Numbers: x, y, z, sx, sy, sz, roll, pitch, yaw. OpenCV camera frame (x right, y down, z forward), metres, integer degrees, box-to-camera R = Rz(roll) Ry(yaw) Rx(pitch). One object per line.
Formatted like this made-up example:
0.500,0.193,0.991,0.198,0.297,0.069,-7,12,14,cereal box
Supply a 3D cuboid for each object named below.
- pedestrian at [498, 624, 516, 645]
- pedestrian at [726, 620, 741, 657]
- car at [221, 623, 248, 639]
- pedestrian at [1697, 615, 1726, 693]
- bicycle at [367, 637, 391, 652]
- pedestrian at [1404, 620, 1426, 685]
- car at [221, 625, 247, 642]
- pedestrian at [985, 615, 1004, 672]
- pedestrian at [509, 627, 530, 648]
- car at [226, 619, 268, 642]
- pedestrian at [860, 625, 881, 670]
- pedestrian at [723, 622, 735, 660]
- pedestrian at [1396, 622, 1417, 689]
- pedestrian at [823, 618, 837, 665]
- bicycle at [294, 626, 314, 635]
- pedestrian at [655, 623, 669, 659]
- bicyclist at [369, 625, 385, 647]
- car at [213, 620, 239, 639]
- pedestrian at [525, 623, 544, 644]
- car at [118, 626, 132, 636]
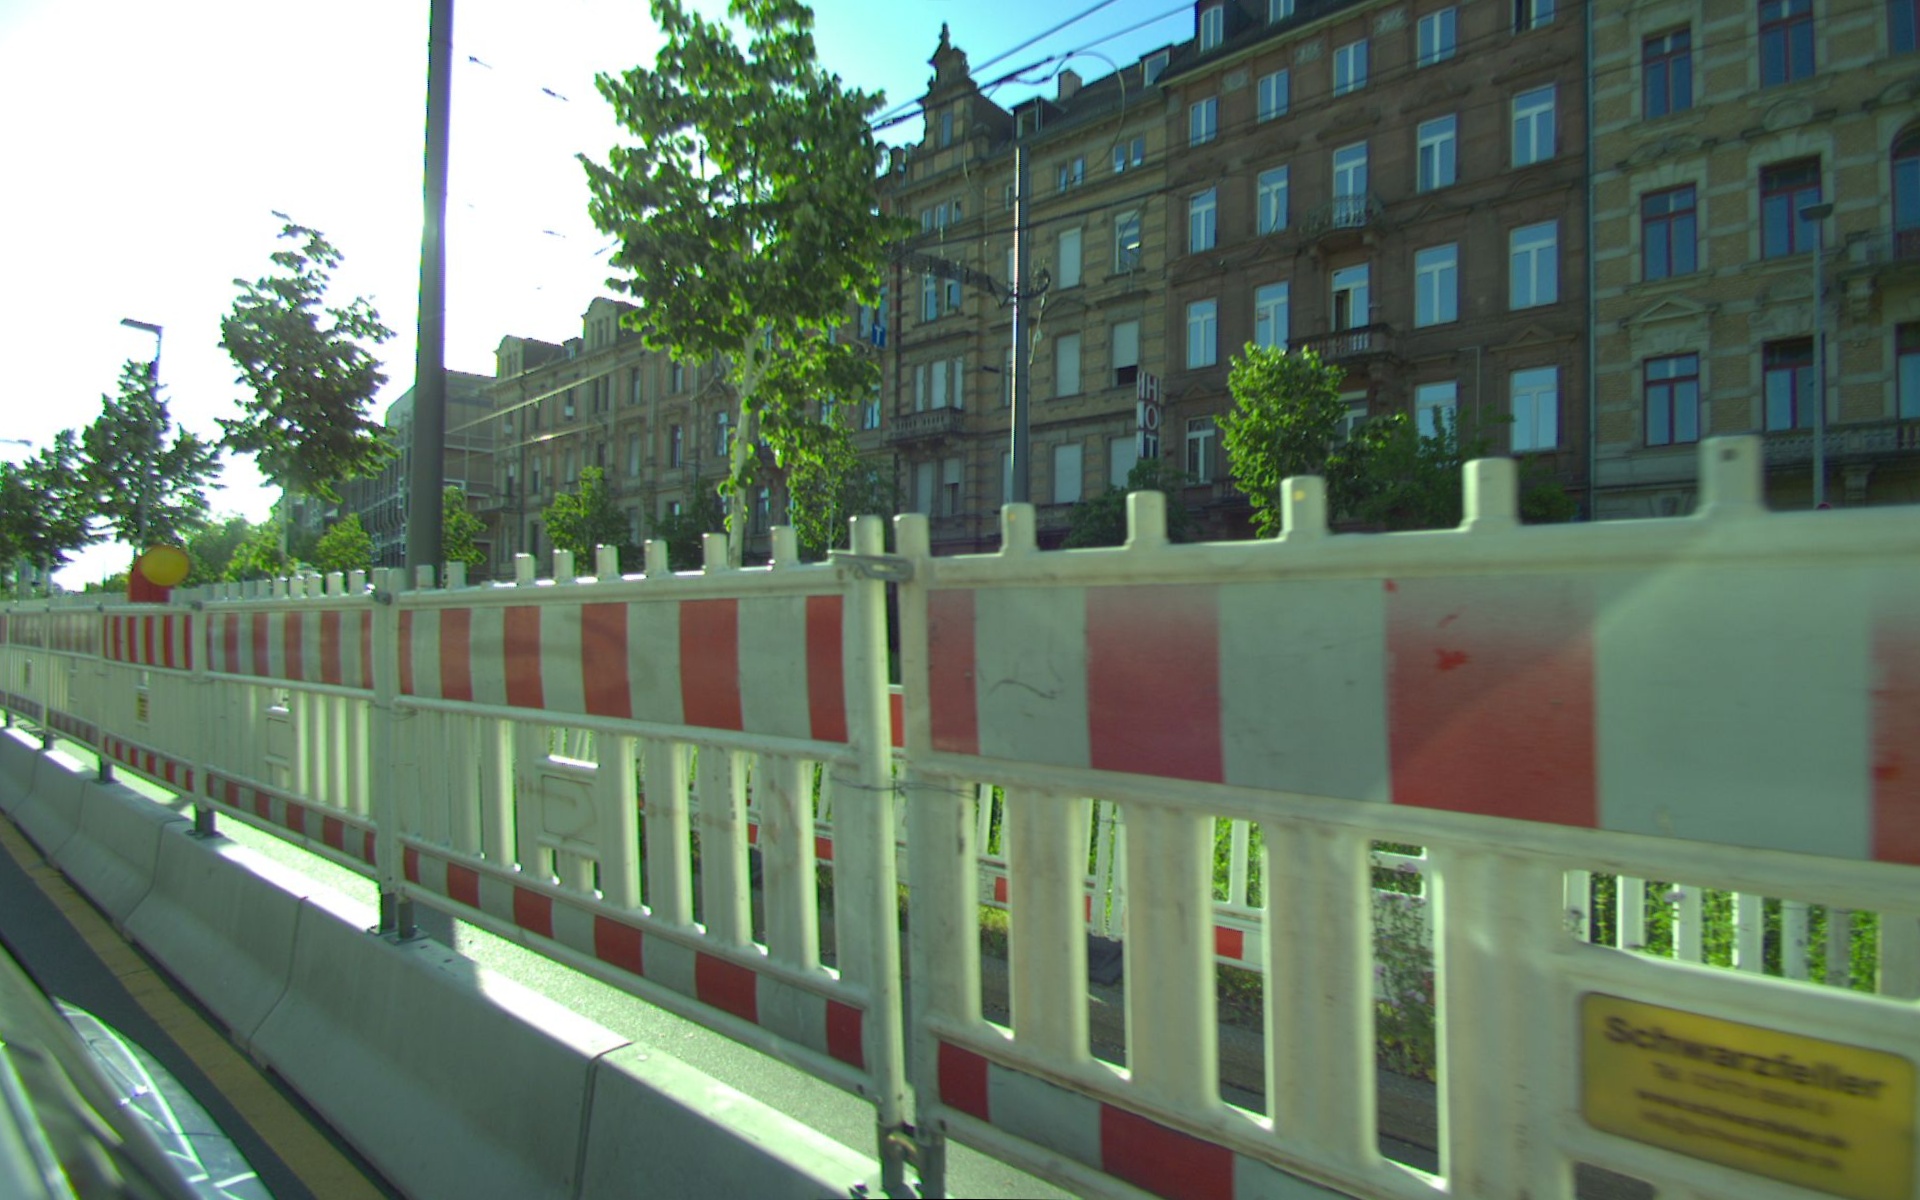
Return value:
-27.392,2.101,61.236,0.929,1.256,0.682,-1,-2,42,pedestrian
-9.890,1.684,44.183,0.477,1.597,0.482,-1,0,14,pedestrian
-68.961,2.933,96.192,1.716,1.548,3.890,1,-2,-41,car
15.677,1.111,21.124,0.434,1.597,0.457,-1,0,35,pedestrian
-33.889,2.598,58.986,2.031,0.864,0.630,-1,-2,43,bicycle
11.404,1.318,25.379,0.385,1.597,0.429,-1,0,38,pedestrian
-66.112,3.031,92.136,1.604,1.452,3.824,0,-1,-41,car
1.088,1.358,31.950,0.404,1.778,0.505,-1,0,27,pedestrian
-26.012,2.199,59.746,0.929,1.217,0.782,-1,-2,42,pedestrian
-48.415,2.064,68.682,3.623,1.494,1.577,-1,-2,43,car
-3.225,1.713,36.423,0.533,1.597,0.482,-1,0,41,pedestrian
-9.989,1.778,43.769,0.401,1.597,0.368,-1,0,2,pedestrian
10.953,1.349,24.812,0.338,1.597,0.424,-1,0,41,pedestrian
-5.021,1.606,39.075,0.406,1.778,0.363,-1,0,41,pedestrian
-74.844,3.477,115.393,1.850,1.080,0.426,3,-3,-36,bicycle
-13.345,1.819,45.320,0.425,1.597,0.399,-1,0,41,pedestrian
-34.067,2.097,59.153,0.738,1.249,0.630,-1,-2,42,bicyclist
-72.679,2.914,100.131,1.729,1.785,4.337,0,-2,-41,car
-24.942,1.974,59.366,0.929,1.217,0.682,-1,-2,42,pedestrian
-156.763,5.781,189.918,1.707,1.760,4.125,2,-2,-43,car
